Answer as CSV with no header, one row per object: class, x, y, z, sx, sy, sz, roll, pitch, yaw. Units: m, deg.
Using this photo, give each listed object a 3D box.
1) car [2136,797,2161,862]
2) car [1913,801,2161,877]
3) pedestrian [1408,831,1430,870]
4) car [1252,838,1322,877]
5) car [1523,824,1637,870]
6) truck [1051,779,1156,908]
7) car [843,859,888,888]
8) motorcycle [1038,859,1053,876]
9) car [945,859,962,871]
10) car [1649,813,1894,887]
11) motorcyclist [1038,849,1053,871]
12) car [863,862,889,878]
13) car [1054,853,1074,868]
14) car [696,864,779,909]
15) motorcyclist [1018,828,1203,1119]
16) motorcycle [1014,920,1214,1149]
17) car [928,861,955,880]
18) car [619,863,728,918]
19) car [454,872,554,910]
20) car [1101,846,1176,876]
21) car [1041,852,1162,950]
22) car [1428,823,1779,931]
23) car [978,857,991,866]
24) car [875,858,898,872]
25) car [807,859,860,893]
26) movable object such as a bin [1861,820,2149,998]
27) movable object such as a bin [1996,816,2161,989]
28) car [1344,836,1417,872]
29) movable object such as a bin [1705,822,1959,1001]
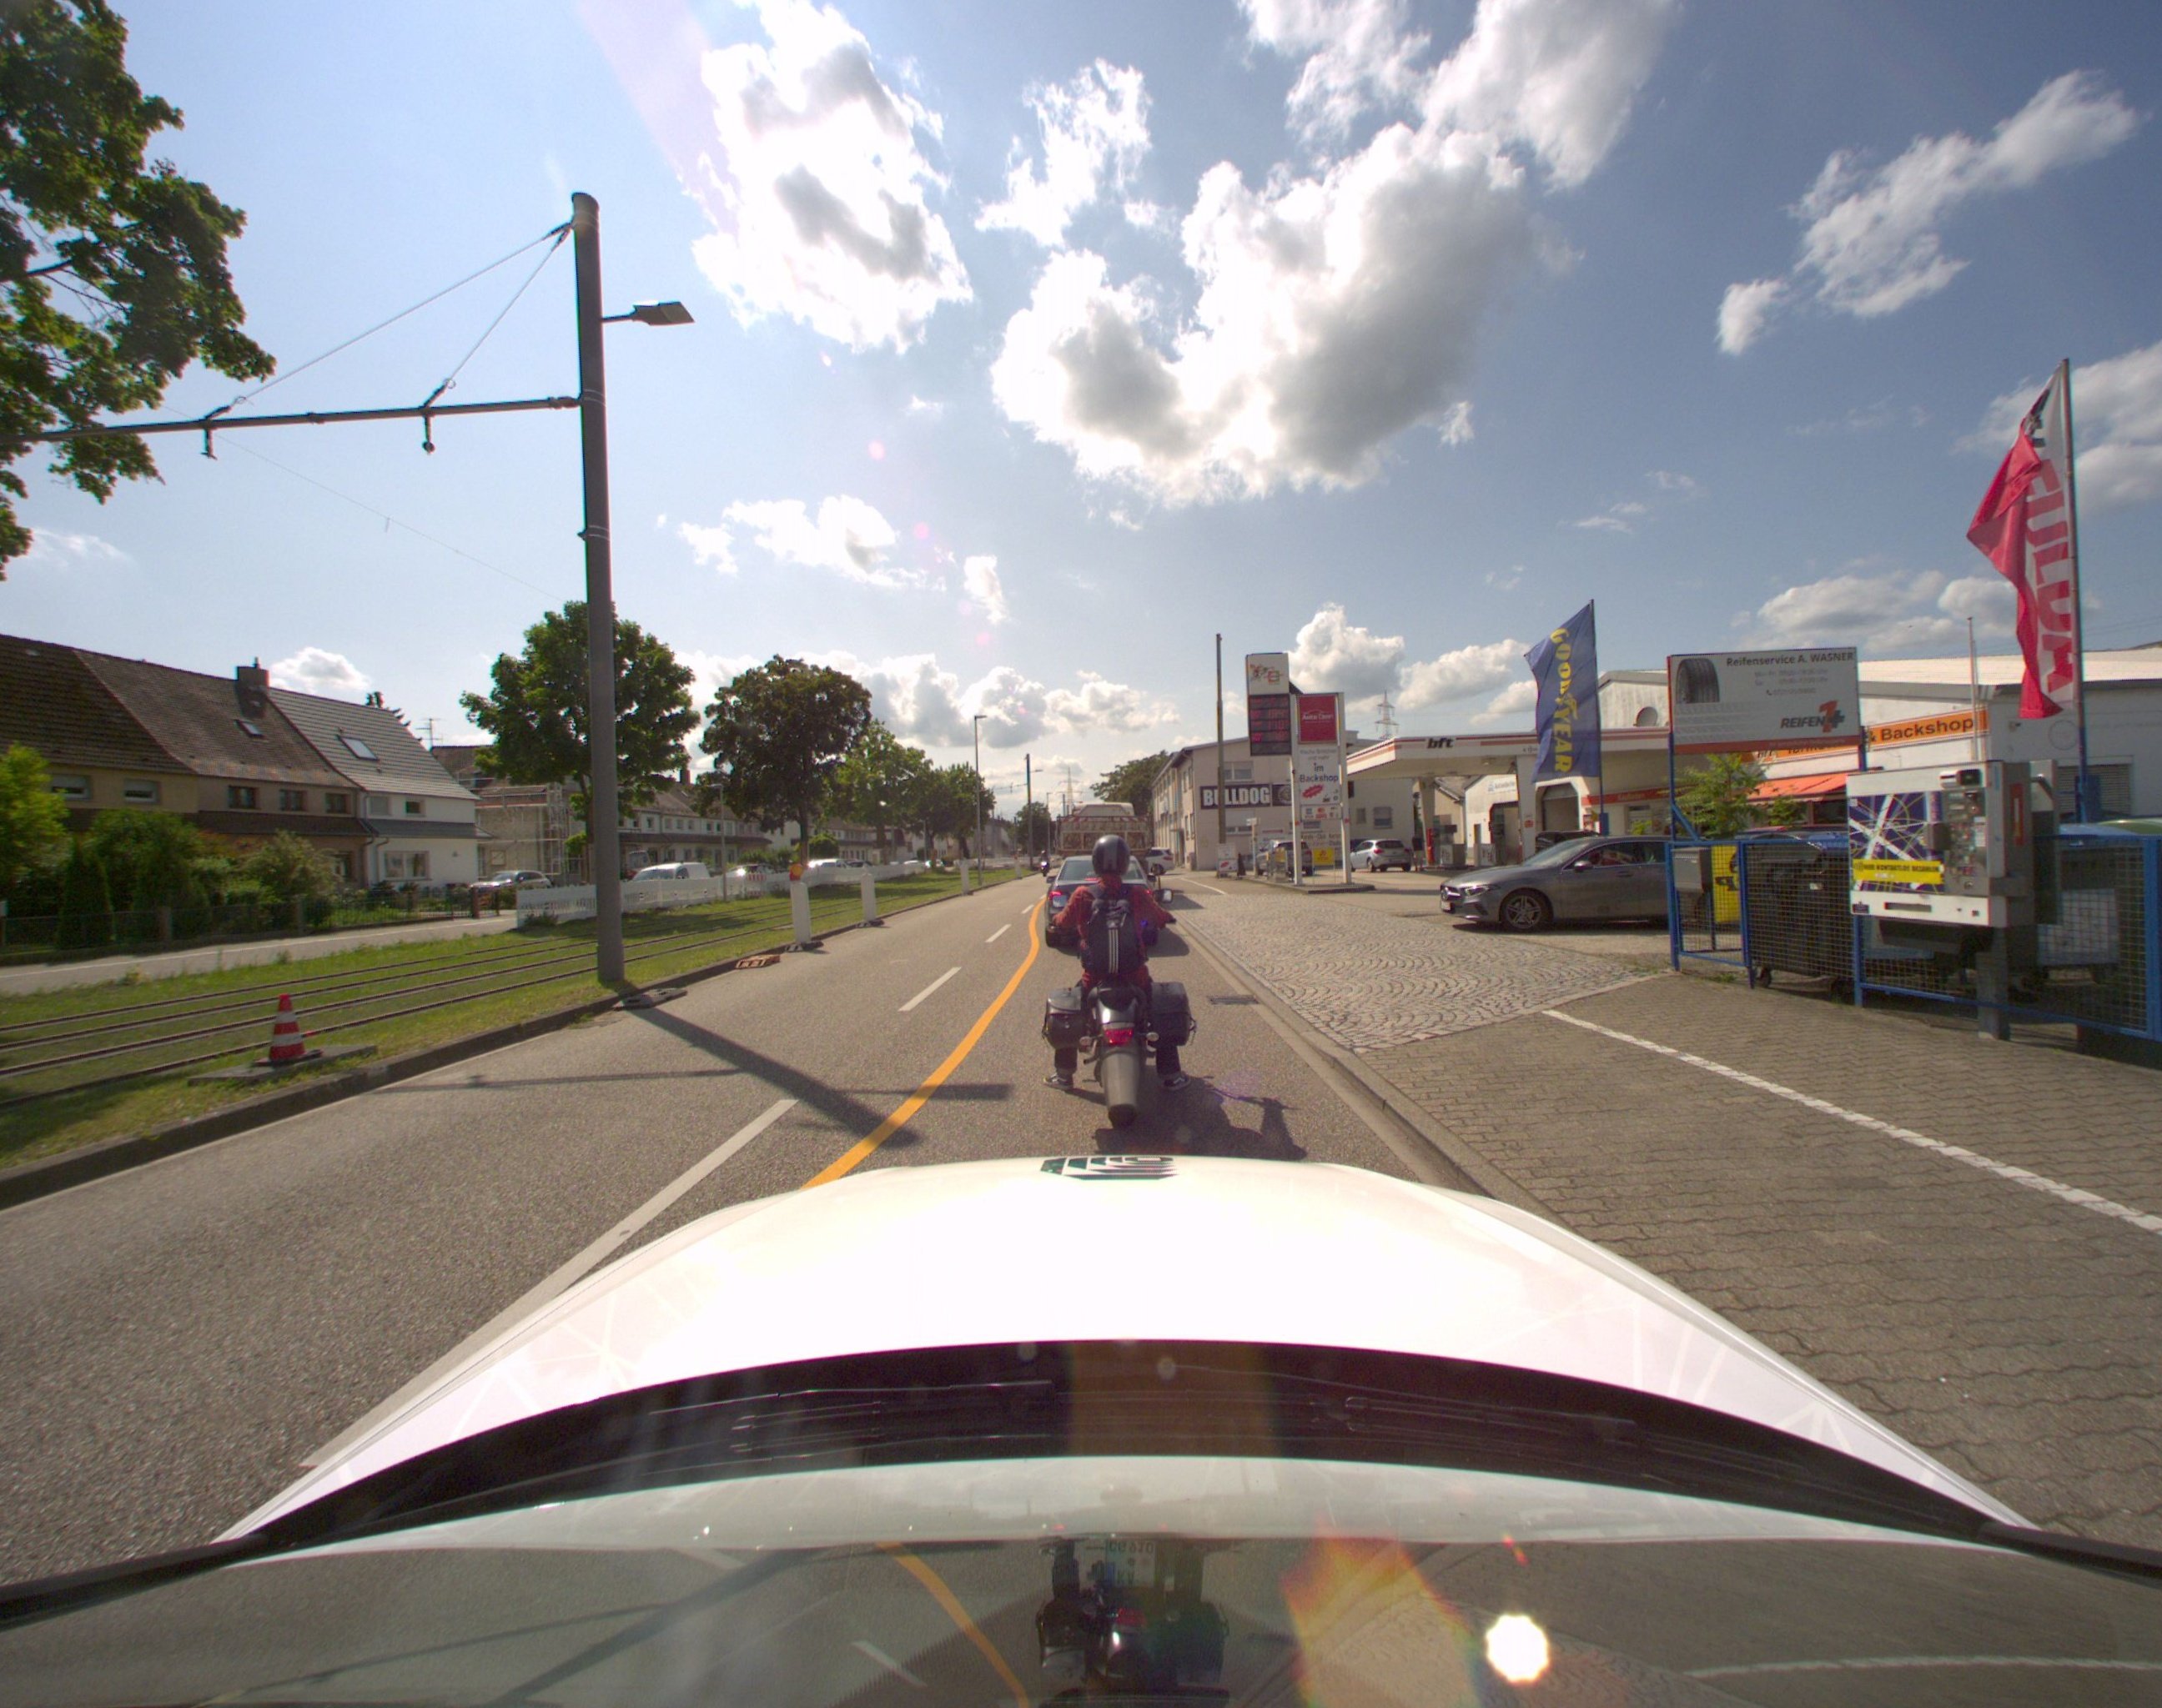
car,26.530,-0.638,18.006,4.180,1.463,1.587,-2,0,2
car,21.526,-0.342,18.169,4.180,1.463,1.587,-2,0,2
pedestrian,14.656,-0.133,35.322,0.701,1.656,0.551,-2,0,37
car,9.121,0.149,36.457,1.665,1.562,4.235,-2,0,-6
car,18.123,-0.248,29.788,1.800,1.503,3.833,-2,0,0
truck,0.731,-0.290,25.504,2.628,3.296,8.059,-2,0,2
car,-14.799,1.333,56.043,1.769,1.805,4.130,-2,0,2
motorcycle,-2.296,0.886,52.852,0.866,1.021,2.244,-2,0,-1
car,-19.626,1.633,125.922,1.769,1.722,4.130,-2,0,2
car,15.778,-0.090,18.762,4.180,1.463,1.587,-2,0,2
motorcyclist,-2.309,0.393,52.918,0.866,1.378,0.800,-2,0,-1
car,-24.382,1.837,97.048,1.769,1.722,4.130,-2,0,2
car,-1.823,0.669,88.620,1.816,1.452,4.326,-3,0,2
car,-15.403,1.410,36.787,1.769,1.774,4.230,-2,0,2
motorcyclist,0.183,0.673,5.145,0.975,1.602,1.088,-2,0,1
motorcycle,0.208,1.022,5.449,0.975,0.897,2.654,-2,0,2
car,-13.723,1.630,80.460,1.769,1.722,4.130,-2,0,2
car,-15.438,1.313,31.161,1.769,1.821,4.366,-2,0,2
car,-27.433,1.723,38.900,1.769,1.519,4.002,-2,0,2
car,3.320,0.389,47.351,4.211,1.543,1.674,-2,0,3
car,0.372,0.709,14.243,1.816,1.452,4.002,0,0,2
car,7.883,0.348,12.670,4.247,1.415,1.678,-2,0,9
car,-19.087,1.530,161.359,1.769,1.722,4.252,-2,0,2
car,-25.154,1.400,105.209,1.769,1.722,4.130,-2,0,2
car,-15.059,1.325,49.866,1.769,1.867,4.130,-2,0,2
movable object such as a bin,8.087,0.442,7.223,1.104,1.396,1.244,-2,0,1
movable object such as a bin,9.490,0.372,7.135,1.397,1.396,1.338,-2,0,1
car,13.481,-0.010,36.924,1.800,1.503,3.832,-2,0,-1
movable object such as a bin,6.693,0.476,7.363,1.104,1.436,1.244,-2,0,1
